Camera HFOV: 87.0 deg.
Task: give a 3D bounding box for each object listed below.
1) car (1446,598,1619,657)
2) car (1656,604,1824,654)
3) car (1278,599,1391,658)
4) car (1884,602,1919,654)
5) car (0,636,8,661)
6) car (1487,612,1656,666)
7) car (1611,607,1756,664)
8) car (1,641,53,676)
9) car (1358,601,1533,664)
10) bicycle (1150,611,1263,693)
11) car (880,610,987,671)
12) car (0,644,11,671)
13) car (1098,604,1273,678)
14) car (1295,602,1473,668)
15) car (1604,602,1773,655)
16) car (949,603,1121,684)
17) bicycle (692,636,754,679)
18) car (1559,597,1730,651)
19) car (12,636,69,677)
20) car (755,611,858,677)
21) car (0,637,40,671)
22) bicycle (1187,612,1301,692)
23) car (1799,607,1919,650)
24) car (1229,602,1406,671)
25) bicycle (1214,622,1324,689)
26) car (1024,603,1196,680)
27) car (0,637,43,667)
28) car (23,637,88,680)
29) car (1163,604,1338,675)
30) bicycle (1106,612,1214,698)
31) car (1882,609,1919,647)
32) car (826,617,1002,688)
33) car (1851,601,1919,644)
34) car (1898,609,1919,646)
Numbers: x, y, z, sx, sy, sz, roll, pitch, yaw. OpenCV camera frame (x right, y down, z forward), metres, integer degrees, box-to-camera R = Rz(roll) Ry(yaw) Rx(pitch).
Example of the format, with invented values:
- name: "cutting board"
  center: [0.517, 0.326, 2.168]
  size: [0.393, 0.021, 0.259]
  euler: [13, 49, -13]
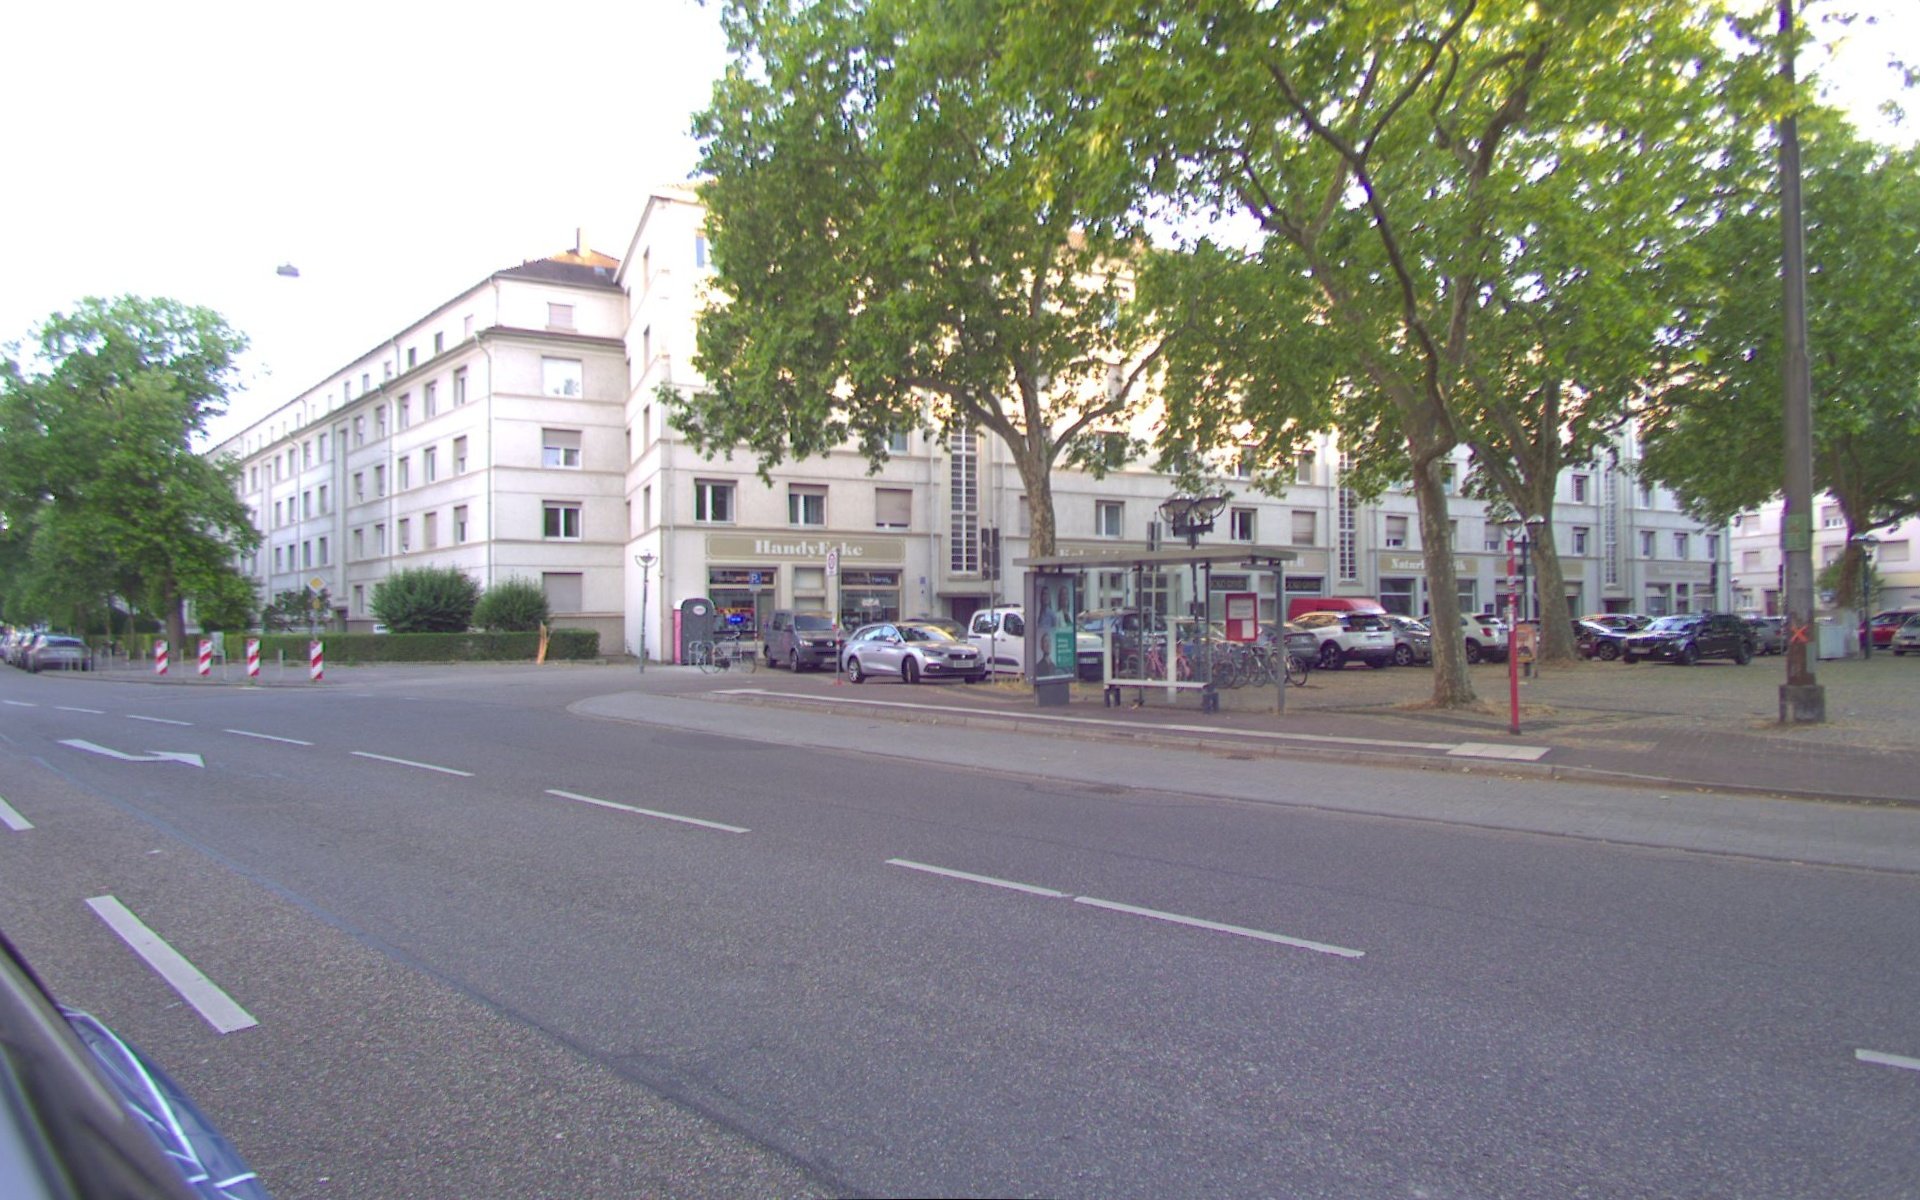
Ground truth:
- name: "car"
  center: [19.165, 1.001, 34.121]
  size: [1.965, 1.795, 4.655]
  euler: [1, -4, -28]
- name: "car"
  center: [29.913, 1.177, 38.999]
  size: [1.965, 1.748, 4.655]
  euler: [1, -4, -28]
- name: "car"
  center: [16.635, 1.220, 45.195]
  size: [1.965, 2.460, 4.656]
  euler: [1, -1, -26]
- name: "car"
  center: [33.057, 0.903, 33.898]
  size: [3.696, 1.674, 1.679]
  euler: [-1, -1, -23]
- name: "car"
  center: [-76.309, 3.855, 79.743]
  size: [1.866, 1.879, 4.262]
  euler: [0, -1, -44]
- name: "car"
  center: [21.352, 1.425, 35.576]
  size: [1.965, 1.748, 4.655]
  euler: [1, -4, -28]
- name: "car"
  center: [20.734, 0.992, 28.993]
  size: [3.696, 1.540, 1.679]
  euler: [0, -1, -23]
- name: "car"
  center: [-48.541, 2.997, 52.623]
  size: [1.866, 1.612, 4.262]
  euler: [0, -1, -44]
- name: "car"
  center: [15.156, 1.088, 31.888]
  size: [1.965, 1.795, 4.655]
  euler: [1, -4, -28]
- name: "bicycle"
  center: [5.217, 1.062, 21.658]
  size: [0.795, 1.626, 2.754]
  euler: [-1, -1, -24]
- name: "car"
  center: [-1.004, 1.356, 35.428]
  size: [1.965, 1.970, 4.656]
  euler: [1, -1, -26]
- name: "car"
  center: [-70.041, 4.181, 73.250]
  size: [1.866, 1.840, 4.262]
  euler: [0, -1, -44]
- name: "car"
  center: [5.904, 1.141, 27.136]
  size: [1.965, 1.795, 4.655]
  euler: [1, -4, -28]
- name: "car"
  center: [12.585, 1.115, 30.387]
  size: [1.965, 1.795, 4.655]
  euler: [1, -4, -28]
- name: "car"
  center: [27.067, 1.118, 37.776]
  size: [1.965, 1.795, 4.655]
  euler: [1, -4, -28]
- name: "car"
  center: [1.703, 1.112, 24.775]
  size: [1.965, 1.795, 4.655]
  euler: [1, -4, -28]
- name: "bicycle"
  center: [-7.181, 1.719, 30.669]
  size: [1.776, 1.215, 0.649]
  euler: [-1, -1, -16]
- name: "car"
  center: [24.723, 0.932, 36.764]
  size: [2.057, 1.795, 4.655]
  euler: [1, -4, -28]
- name: "car"
  center: [-43.267, 2.614, 47.577]
  size: [1.866, 1.704, 4.262]
  euler: [0, -1, -44]
- name: "car"
  center: [-5.105, 1.369, 33.083]
  size: [1.965, 1.970, 4.656]
  euler: [1, -1, -26]
- name: "car"
  center: [-52.880, 3.000, 56.706]
  size: [1.866, 1.787, 4.262]
  euler: [0, -1, -44]
- name: "bicycle"
  center: [6.157, 1.077, 22.173]
  size: [0.795, 1.626, 2.754]
  euler: [-1, -1, -24]
- name: "car"
  center: [40.620, 1.308, 45.104]
  size: [1.968, 1.748, 4.647]
  euler: [2, -5, -40]
- name: "car"
  center: [10.154, 1.113, 29.170]
  size: [1.965, 1.795, 4.655]
  euler: [1, -4, -28]
- name: "bicycle"
  center: [6.869, 1.196, 22.686]
  size: [0.680, 1.394, 2.754]
  euler: [-1, -1, -24]
- name: "car"
  center: [3.748, 1.128, 26.232]
  size: [1.965, 1.795, 4.655]
  euler: [1, -4, -28]
- name: "car"
  center: [-56.557, 3.087, 60.918]
  size: [1.866, 1.612, 4.262]
  euler: [0, -1, -44]
- name: "car"
  center: [-37.485, 2.369, 41.906]
  size: [1.866, 1.612, 4.003]
  euler: [0, -1, -44]
- name: "car"
  center: [7.959, 1.162, 28.217]
  size: [1.965, 1.795, 4.655]
  euler: [1, -4, -28]
- name: "bicycle"
  center: [4.039, 1.075, 20.730]
  size: [0.680, 1.626, 2.754]
  euler: [-1, -1, -24]
- name: "car"
  center: [45.712, 1.246, 46.513]
  size: [1.968, 1.748, 4.647]
  euler: [2, -5, -40]
- name: "car"
  center: [-1.210, 1.264, 23.904]
  size: [1.967, 1.515, 4.652]
  euler: [2, -4, -35]
- name: "car"
  center: [43.417, 0.996, 45.551]
  size: [1.968, 1.824, 4.658]
  euler: [2, -4, -38]
- name: "car"
  center: [47.801, 1.245, 47.984]
  size: [1.968, 1.748, 4.647]
  euler: [2, -5, -40]
